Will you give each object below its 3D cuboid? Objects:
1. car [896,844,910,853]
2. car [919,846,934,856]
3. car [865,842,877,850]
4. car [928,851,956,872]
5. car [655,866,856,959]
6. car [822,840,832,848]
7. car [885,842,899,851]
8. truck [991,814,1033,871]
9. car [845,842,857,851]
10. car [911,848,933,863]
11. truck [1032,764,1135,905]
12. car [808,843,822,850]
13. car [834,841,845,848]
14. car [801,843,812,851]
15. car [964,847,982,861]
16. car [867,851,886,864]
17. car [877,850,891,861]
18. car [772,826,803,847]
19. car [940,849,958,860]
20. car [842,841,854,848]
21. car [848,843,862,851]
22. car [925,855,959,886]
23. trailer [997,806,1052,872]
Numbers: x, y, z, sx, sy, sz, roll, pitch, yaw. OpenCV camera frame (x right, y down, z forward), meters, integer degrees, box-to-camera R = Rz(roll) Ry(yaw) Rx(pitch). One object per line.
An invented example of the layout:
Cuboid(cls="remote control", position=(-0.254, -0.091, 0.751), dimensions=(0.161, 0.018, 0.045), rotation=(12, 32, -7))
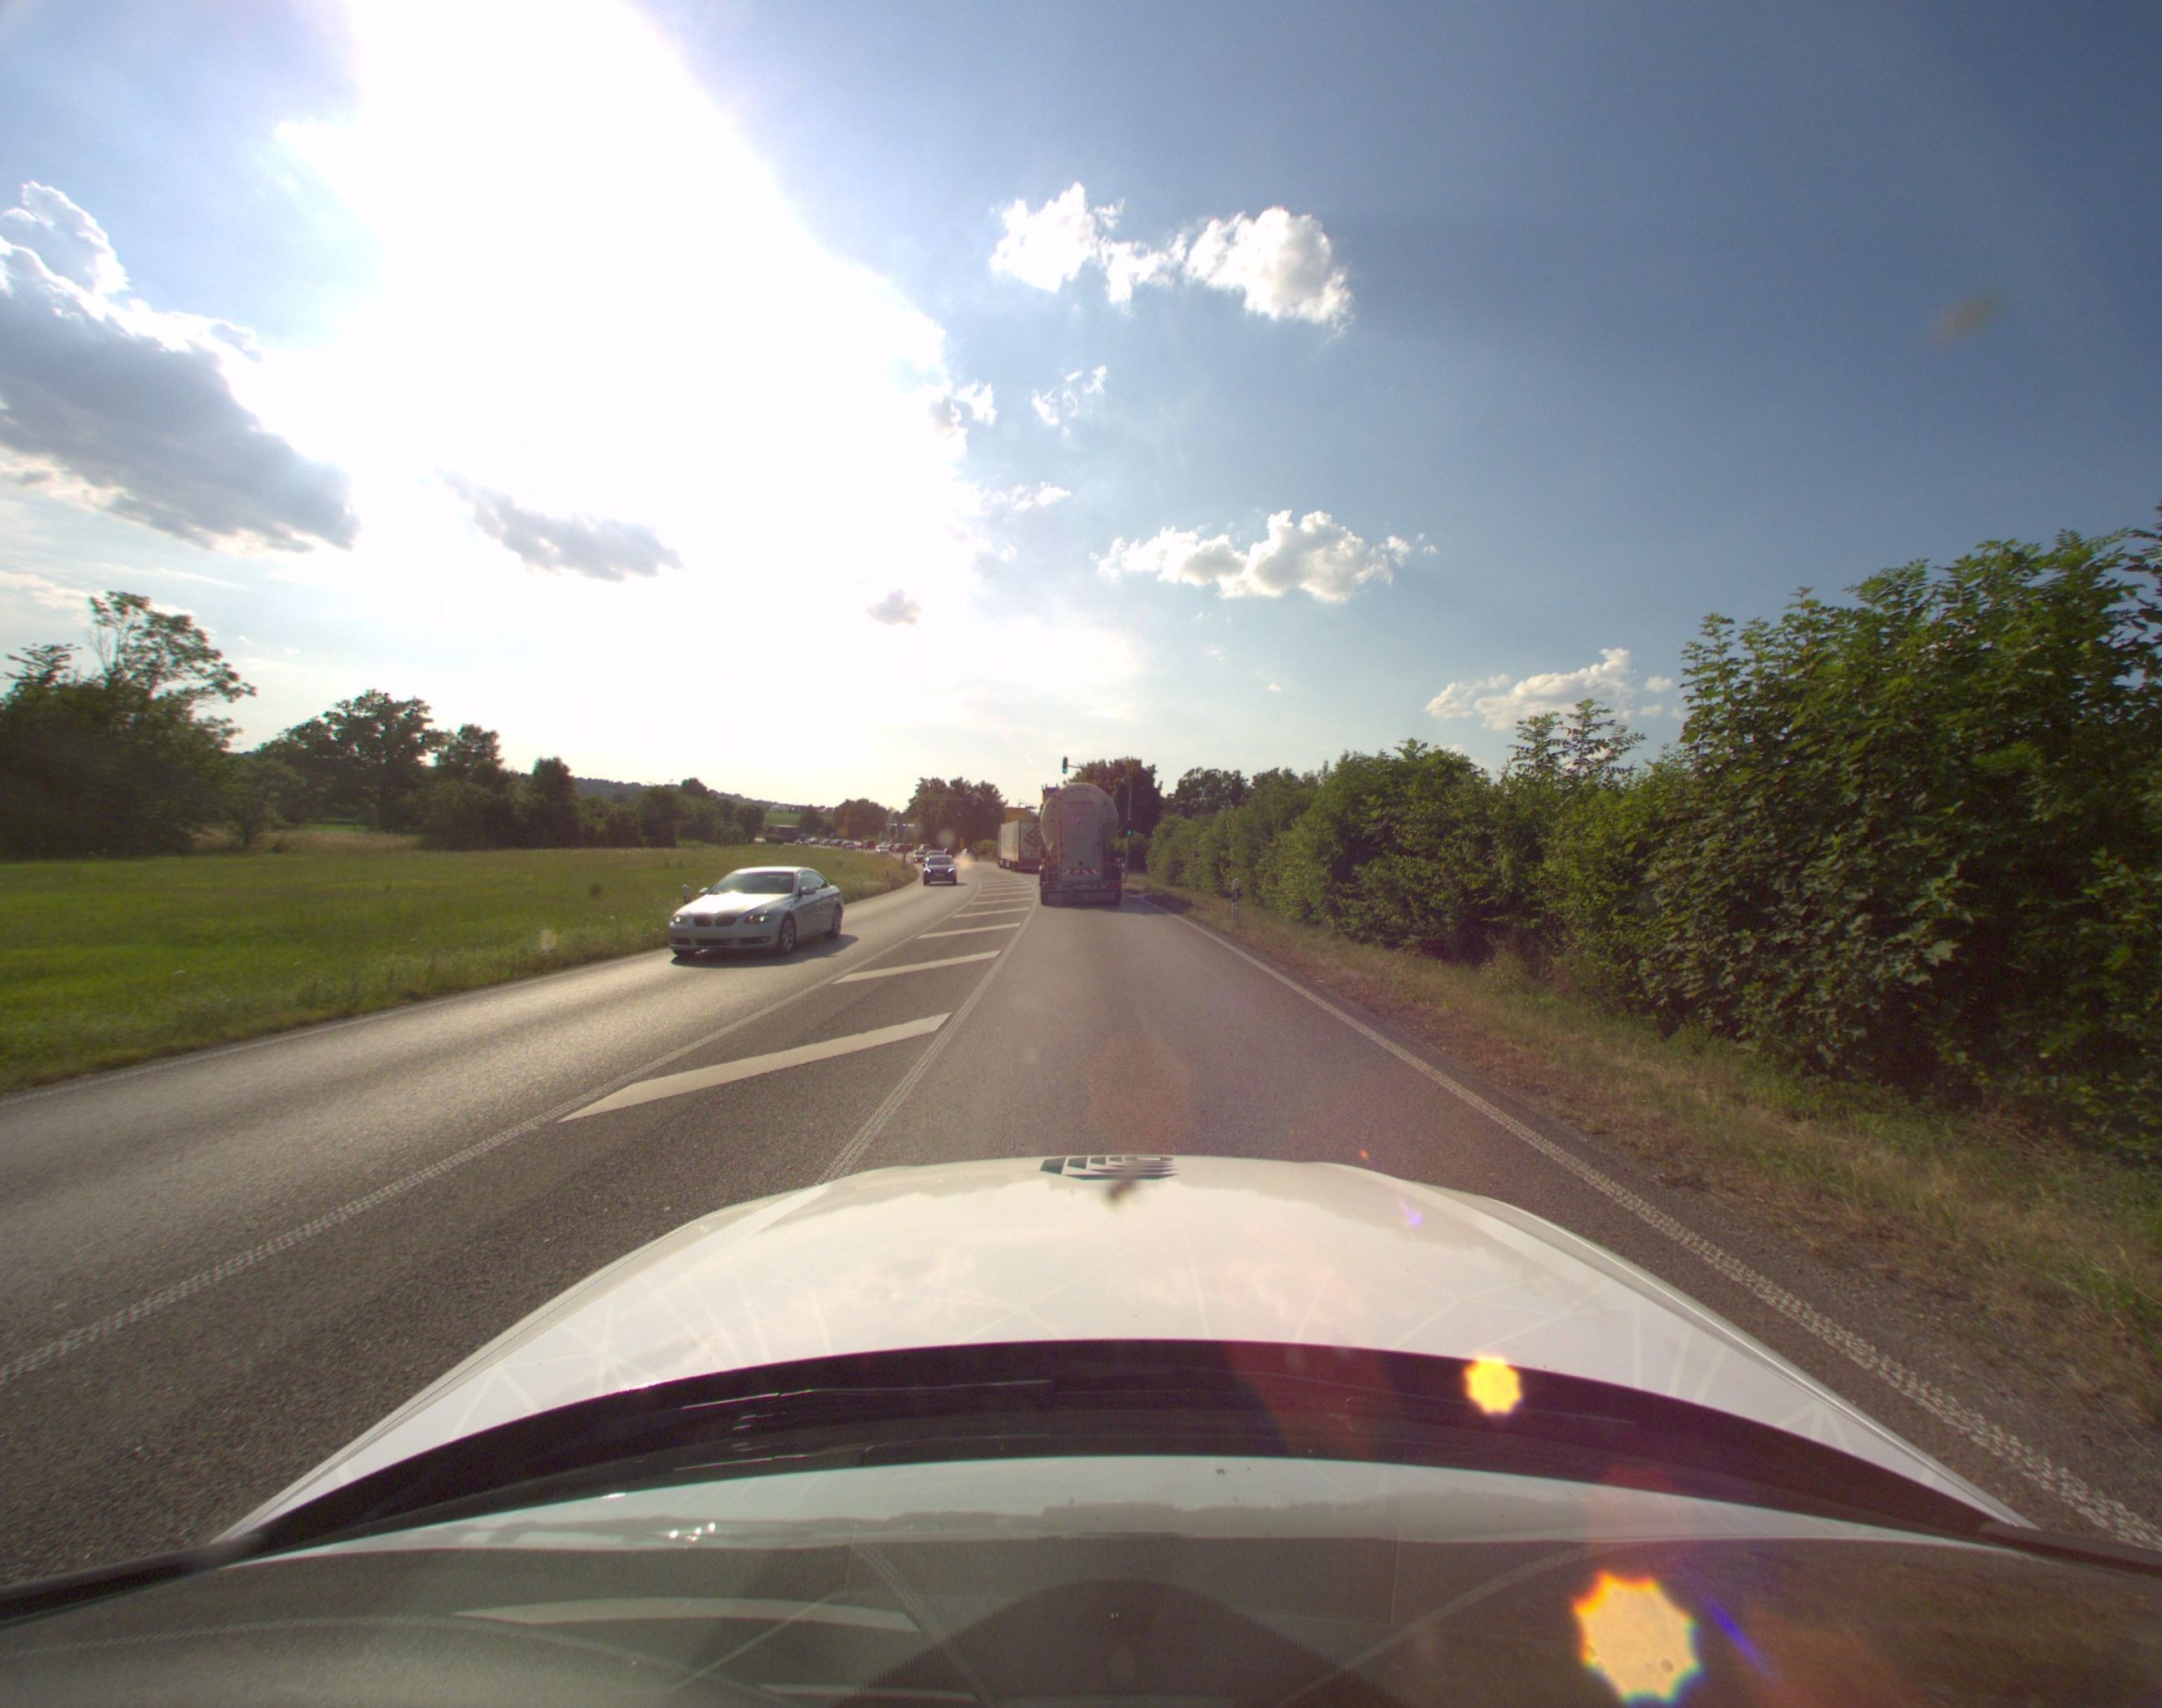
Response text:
Cuboid(cls="car", position=(-31.673, -0.970, 144.598), dimensions=(1.888, 1.599, 3.972), rotation=(1, 0, -21))
Cuboid(cls="car", position=(-27.121, -0.587, 142.837), dimensions=(1.849, 1.656, 3.969), rotation=(1, -1, -23))
Cuboid(cls="car", position=(-42.471, -1.583, 164.529), dimensions=(1.889, 1.599, 3.972), rotation=(1, 0, -21))
Cuboid(cls="car", position=(-12.061, 0.600, 70.756), dimensions=(1.990, 1.725, 4.418), rotation=(1, 1, -5))
Cuboid(cls="car", position=(-5.415, 0.889, 14.309), dimensions=(1.695, 1.334, 4.747), rotation=(0, -1, -1))
Cuboid(cls="car", position=(-59.033, -2.315, 189.218), dimensions=(1.890, 1.599, 3.968), rotation=(1, 0, -24))
Cuboid(cls="car", position=(-35.334, -1.403, 152.362), dimensions=(2.093, 1.599, 3.972), rotation=(1, 0, -21))
Cuboid(cls="truck", position=(-6.305, -0.954, 73.270), dimensions=(2.965, 4.887, 6.403), rotation=(1, -1, -12))
Cuboid(cls="car", position=(-43.008, -1.353, 152.182), dimensions=(1.887, 1.599, 3.975), rotation=(1, 0, -19))
Cuboid(cls="car", position=(-17.782, 0.174, 90.710), dimensions=(1.847, 1.656, 3.974), rotation=(1, -1, -19))
Cuboid(cls="truck", position=(-0.275, -0.470, 30.241), dimensions=(2.970, 4.176, 11.644), rotation=(1, -1, -4))
Cuboid(cls="car", position=(-63.394, -1.866, 194.056), dimensions=(1.896, 1.599, 3.957), rotation=(1, 0, -36))
Cuboid(cls="car", position=(-54.074, -2.140, 182.352), dimensions=(1.891, 1.599, 3.968), rotation=(1, 0, -24))
Cuboid(cls="car", position=(-61.237, -1.546, 181.815), dimensions=(1.890, 1.599, 3.968), rotation=(1, 0, -24))
Cuboid(cls="car", position=(-13.575, -0.021, 102.422), dimensions=(1.994, 1.656, 3.985), rotation=(1, -1, -11))
Cuboid(cls="car", position=(-27.954, 0.459, 111.391), dimensions=(1.890, 1.599, 3.969), rotation=(1, 0, -24))
Cuboid(cls="car", position=(-30.600, 0.246, 126.693), dimensions=(1.886, 1.599, 3.977), rotation=(1, 0, -17))
Cuboid(cls="car", position=(-75.041, -4.502, 207.929), dimensions=(3.569, 5.059, 13.094), rotation=(1, 0, -37))
Cuboid(cls="car", position=(-19.295, 0.073, 118.551), dimensions=(1.691, 1.468, 3.969), rotation=(1, -1, -23))
Cuboid(cls="car", position=(-50.780, -2.033, 177.473), dimensions=(1.890, 1.599, 3.968), rotation=(1, 0, -24))
Cuboid(cls="car", position=(-47.340, -1.537, 170.875), dimensions=(2.096, 1.599, 3.966), rotation=(1, 0, -26))
Cuboid(cls="car", position=(-7.523, 0.892, 44.327), dimensions=(1.694, 1.553, 4.140), rotation=(1, -1, -8))
Cuboid(cls="trailer", position=(-4.755, -1.017, 66.081), dimensions=(2.966, 4.882, 10.244), rotation=(1, -1, -12))
